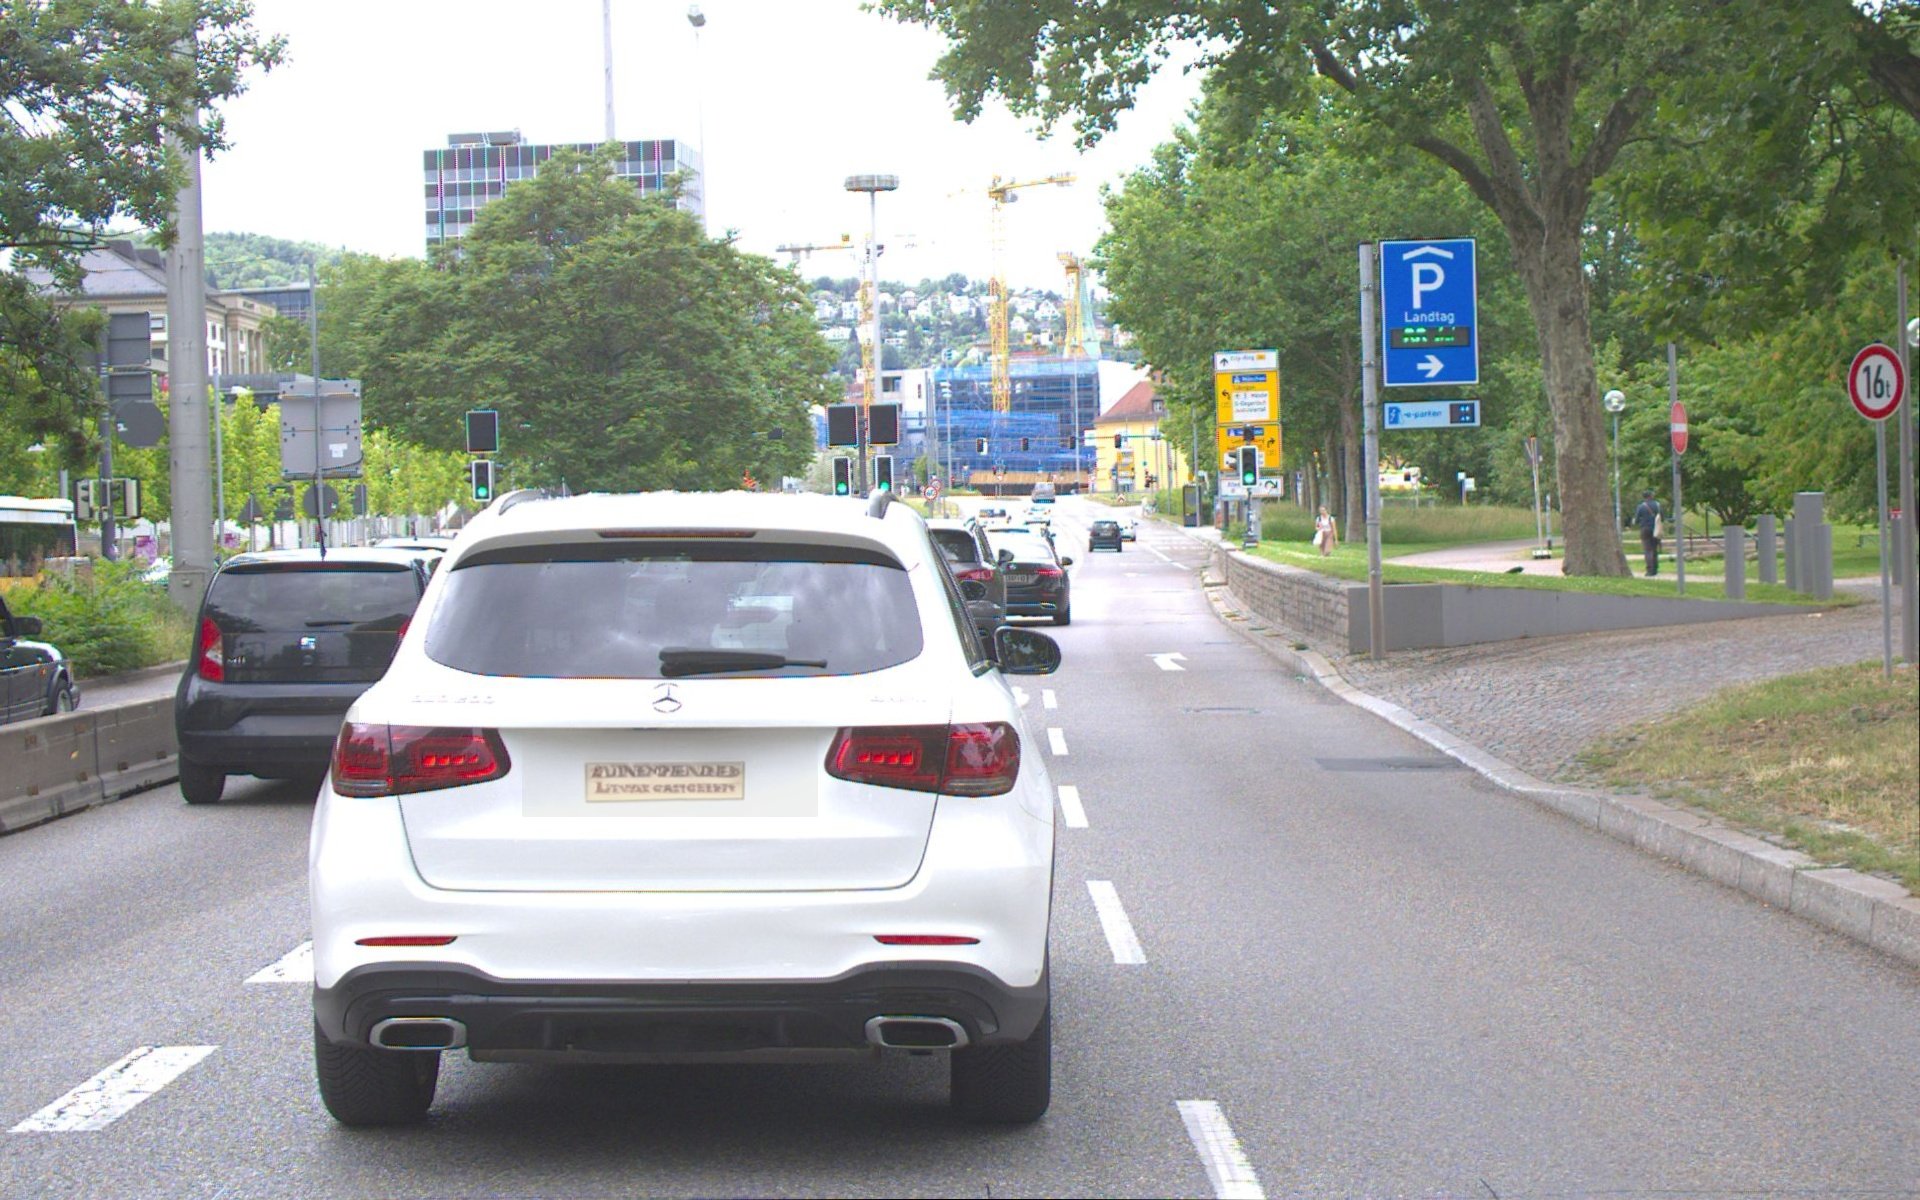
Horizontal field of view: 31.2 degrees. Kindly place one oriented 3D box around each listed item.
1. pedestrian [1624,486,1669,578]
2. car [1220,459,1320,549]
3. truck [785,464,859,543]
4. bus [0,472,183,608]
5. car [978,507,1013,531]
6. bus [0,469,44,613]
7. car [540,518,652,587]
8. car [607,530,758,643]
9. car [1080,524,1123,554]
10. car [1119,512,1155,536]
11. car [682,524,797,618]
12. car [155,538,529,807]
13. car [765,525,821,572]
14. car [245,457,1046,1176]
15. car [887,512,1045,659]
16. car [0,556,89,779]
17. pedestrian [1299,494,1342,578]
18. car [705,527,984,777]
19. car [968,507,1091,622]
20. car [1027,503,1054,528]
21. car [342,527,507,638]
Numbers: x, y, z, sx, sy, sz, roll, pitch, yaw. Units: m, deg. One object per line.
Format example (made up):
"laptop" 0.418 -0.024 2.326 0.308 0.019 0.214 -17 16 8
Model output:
"pedestrian" 13.048 -1.289 65.337 0.759 1.719 0.699 -1 1 8
"car" 7.165 -2.202 79.780 1.993 2.007 4.000 0 1 1
"truck" -5.138 -3.604 129.049 2.621 2.851 7.079 0 1 -1
"bus" -23.543 -1.565 88.407 3.667 3.194 14.274 -1 1 1
"car" 1.993 -4.554 192.796 1.947 1.315 4.017 0 1 1
"bus" -23.606 -1.059 74.140 3.667 3.194 14.276 -1 3 1
"car" -8.032 -1.068 76.077 1.776 1.415 4.000 -1 2 4
"car" -3.660 -0.202 45.875 1.797 1.432 4.021 0 1 -2
"car" 6.687 -2.886 163.099 1.947 1.423 4.017 0 1 1
"car" 10.116 -4.339 196.676 1.947 1.315 4.017 0 1 1
"car" -3.955 -0.531 62.266 1.851 1.622 4.907 0 1 -1
"car" -3.678 0.373 21.023 1.608 1.468 3.622 -1 1 0
"car" -5.577 -1.734 115.241 1.659 1.508 3.547 -1 1 1
"car" -0.662 0.453 10.037 1.788 1.619 4.437 -1 1 2
"car" 0.034 -0.206 40.310 1.659 1.633 3.548 0 1 -3
"car" -6.815 0.449 21.338 1.678 1.362 4.543 -1 1 -1
"pedestrian" 8.700 -1.546 82.983 0.761 2.007 0.697 0 1 36
"car" -0.799 0.304 24.475 1.795 1.603 3.755 -1 1 -1
"car" 1.093 -0.594 55.569 1.825 1.746 4.000 -1 1 -1
"car" 5.580 -5.893 239.598 1.758 1.663 4.168 -1 1 0
"car" -7.258 -0.254 46.876 1.661 1.431 3.961 0 1 -1
